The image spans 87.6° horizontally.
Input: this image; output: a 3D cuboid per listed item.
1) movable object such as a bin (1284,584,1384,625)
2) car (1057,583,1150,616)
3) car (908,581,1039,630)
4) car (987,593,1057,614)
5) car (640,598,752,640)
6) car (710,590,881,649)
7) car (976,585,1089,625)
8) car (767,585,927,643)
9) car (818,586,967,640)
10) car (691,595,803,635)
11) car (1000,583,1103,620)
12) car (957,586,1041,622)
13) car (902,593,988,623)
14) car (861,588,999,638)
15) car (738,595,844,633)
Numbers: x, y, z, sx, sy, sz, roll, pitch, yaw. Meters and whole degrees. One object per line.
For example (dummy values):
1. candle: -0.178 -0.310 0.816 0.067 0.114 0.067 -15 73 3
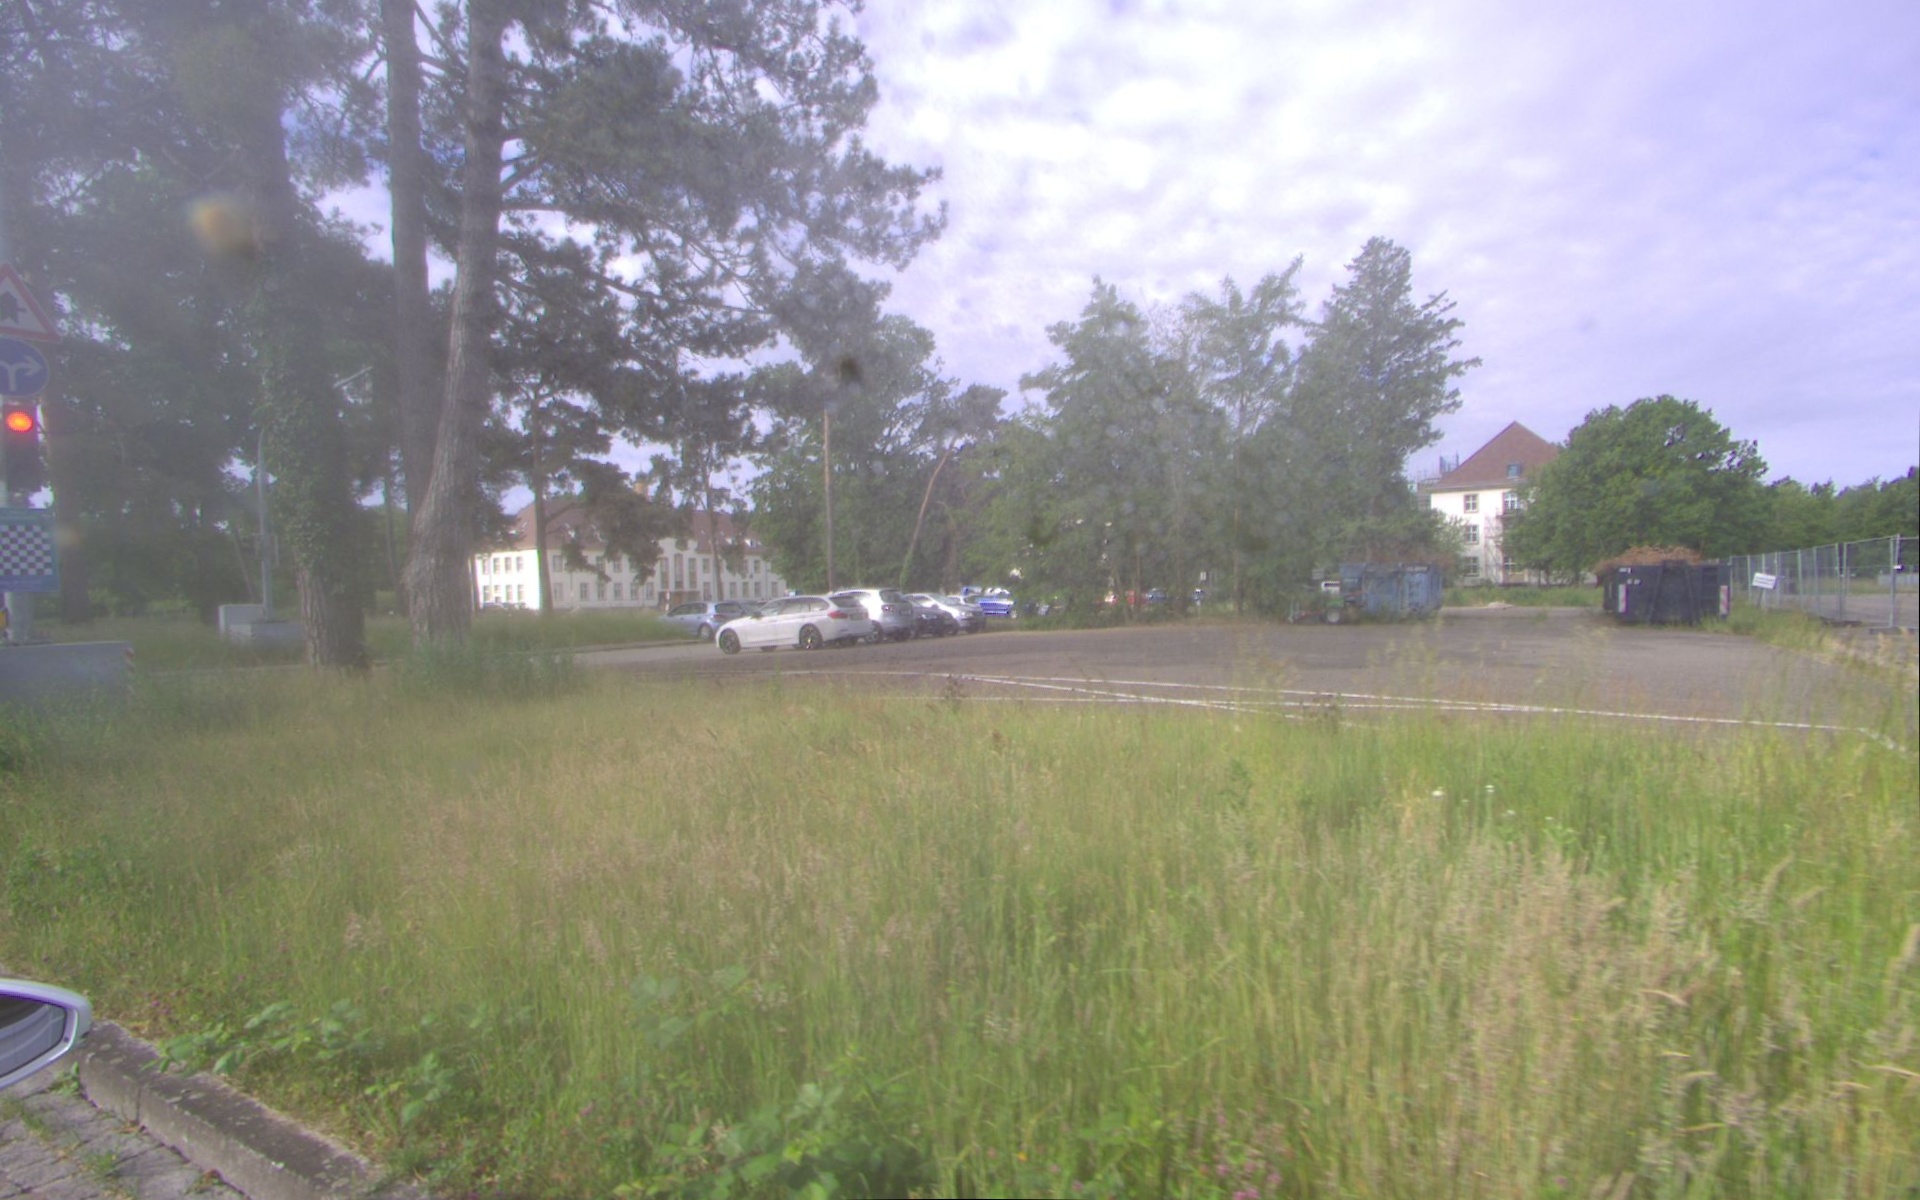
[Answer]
1. movable object such as a bin: 10.485 0.112 28.095 2.505 1.098 1.060 1 2 31
2. car: 7.369 -0.029 51.471 4.380 1.598 1.864 -1 1 29
3. car: 0.478 0.208 36.370 4.380 1.709 1.864 -1 1 29
4. car: 3.800 0.222 61.157 3.941 1.226 1.654 -1 1 31
5. car: -10.382 0.747 39.228 4.385 1.545 1.747 -1 1 33
6. car: -4.442 0.540 26.949 4.380 1.434 1.750 -2 1 29
7. car: 3.069 0.207 42.334 4.380 1.598 1.864 -1 1 29
8. car: -3.326 0.403 29.290 4.380 1.598 1.864 -1 1 29
9. car: -2.136 0.399 31.629 4.380 1.598 1.864 -1 1 29
10. car: -8.747 0.607 41.074 4.379 1.544 1.750 -1 1 28
11. car: 4.215 0.094 46.211 4.380 1.598 1.864 -1 1 29
12. car: 2.274 0.227 58.844 4.586 1.994 1.750 -1 1 29
13. car: -0.824 0.455 54.839 4.380 1.544 1.750 -1 1 29
14. car: -1.048 0.449 34.225 4.380 1.598 1.864 -1 1 29
15. car: -7.326 0.624 43.321 4.380 1.544 1.750 -1 1 29
